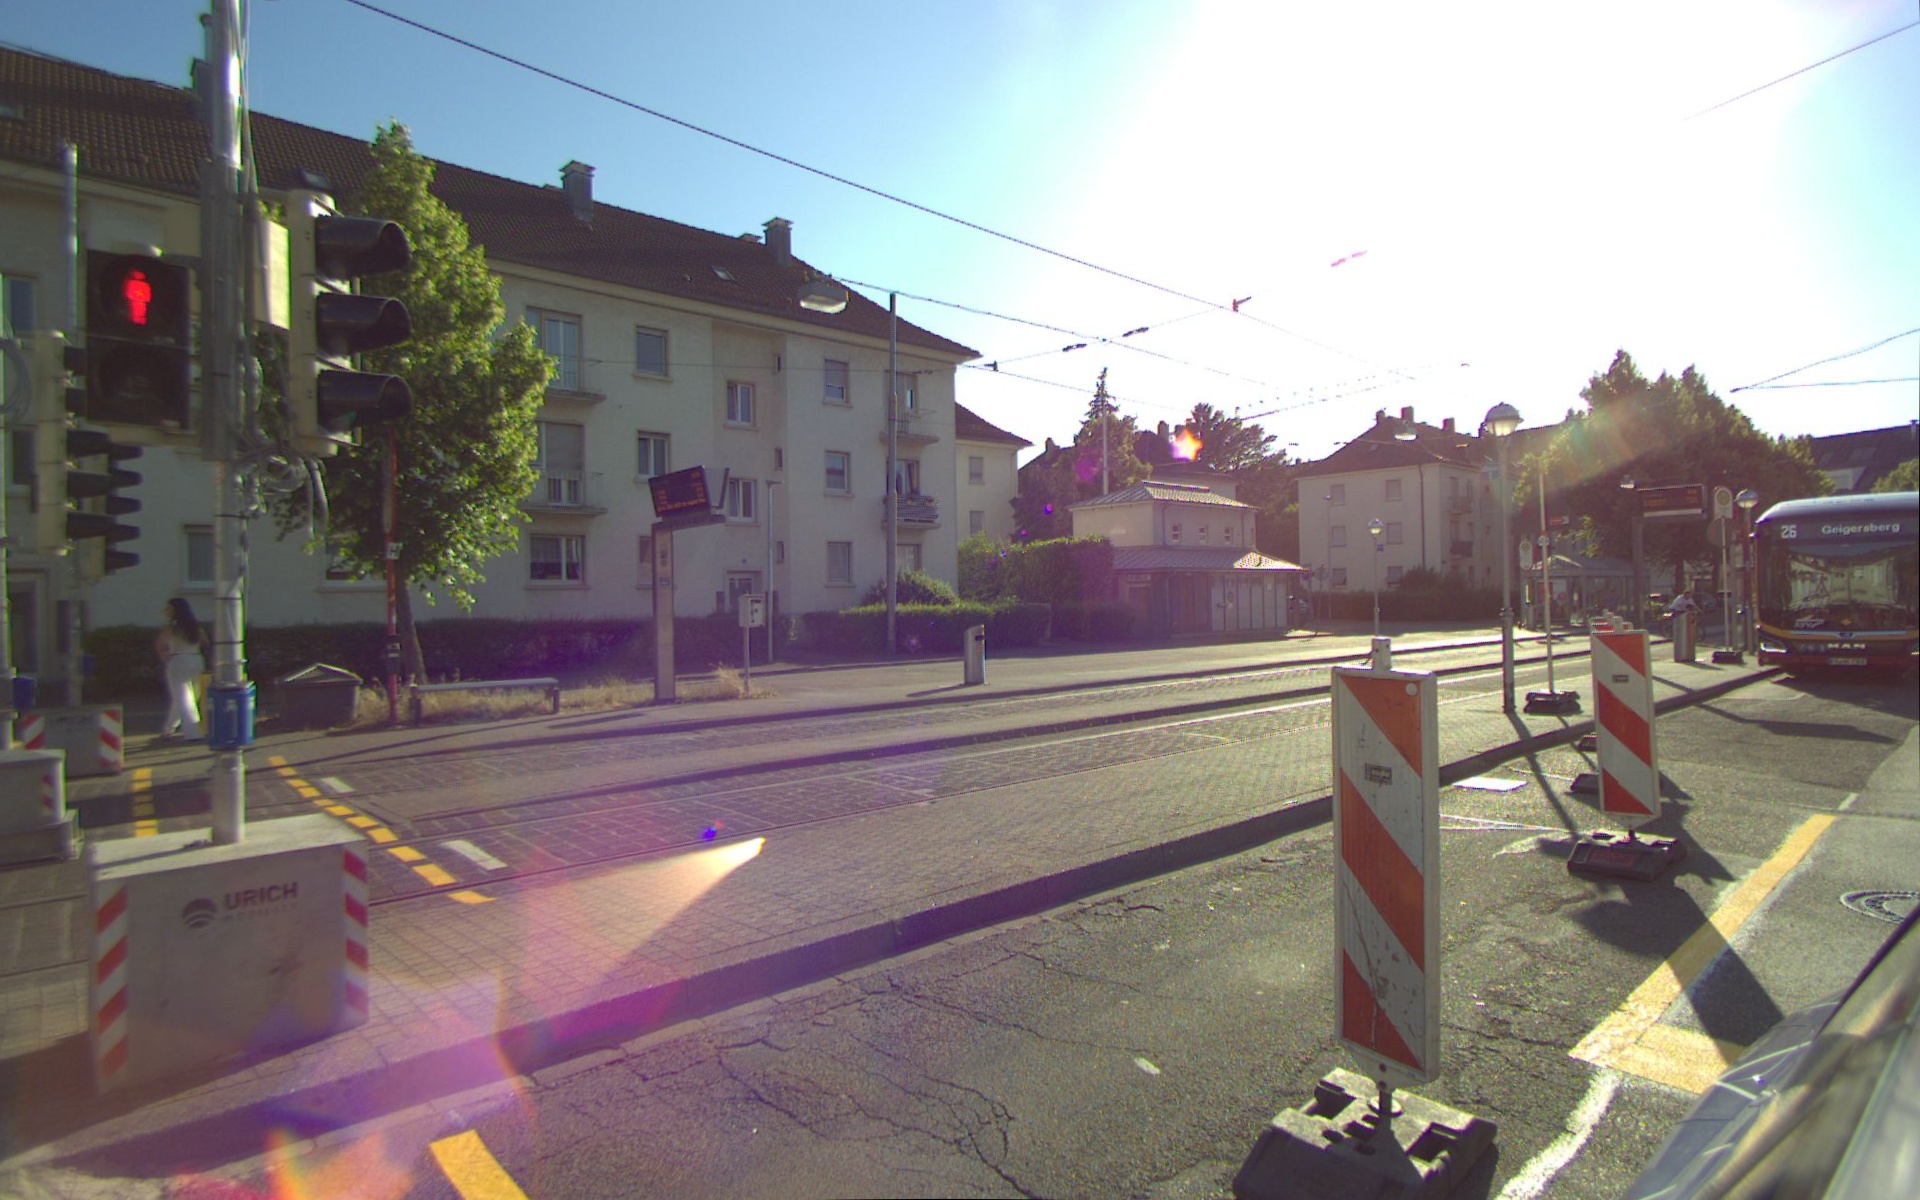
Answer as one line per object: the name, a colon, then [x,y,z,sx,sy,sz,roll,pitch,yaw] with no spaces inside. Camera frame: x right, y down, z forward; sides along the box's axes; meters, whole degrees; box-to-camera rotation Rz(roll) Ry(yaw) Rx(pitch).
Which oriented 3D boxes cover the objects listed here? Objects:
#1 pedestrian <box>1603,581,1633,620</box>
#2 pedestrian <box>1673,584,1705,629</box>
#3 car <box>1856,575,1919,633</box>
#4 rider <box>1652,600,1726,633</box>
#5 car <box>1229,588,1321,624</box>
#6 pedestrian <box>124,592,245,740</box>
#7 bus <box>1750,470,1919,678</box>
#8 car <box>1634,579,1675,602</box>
pedestrian: [27.591,0.015,42.435,0.813,1.631,0.839,0,0,13]
pedestrian: [23.322,0.198,32.386,0.569,1.398,0.659,-1,0,-28]
car: [26.072,0.082,27.558,4.741,1.477,1.967,-1,1,-42]
rider: [23.327,0.514,32.398,0.569,1.004,1.860,-1,1,-28]
car: [16.065,0.323,51.713,1.965,1.694,4.049,-1,-1,-40]
pedestrian: [-9.011,0.729,11.775,0.781,1.640,0.821,0,0,20]
bus: [19.263,-0.478,20.926,11.828,3.345,2.745,-1,0,-43]
car: [57.756,-0.812,84.152,3.931,1.887,1.996,-1,1,-42]
